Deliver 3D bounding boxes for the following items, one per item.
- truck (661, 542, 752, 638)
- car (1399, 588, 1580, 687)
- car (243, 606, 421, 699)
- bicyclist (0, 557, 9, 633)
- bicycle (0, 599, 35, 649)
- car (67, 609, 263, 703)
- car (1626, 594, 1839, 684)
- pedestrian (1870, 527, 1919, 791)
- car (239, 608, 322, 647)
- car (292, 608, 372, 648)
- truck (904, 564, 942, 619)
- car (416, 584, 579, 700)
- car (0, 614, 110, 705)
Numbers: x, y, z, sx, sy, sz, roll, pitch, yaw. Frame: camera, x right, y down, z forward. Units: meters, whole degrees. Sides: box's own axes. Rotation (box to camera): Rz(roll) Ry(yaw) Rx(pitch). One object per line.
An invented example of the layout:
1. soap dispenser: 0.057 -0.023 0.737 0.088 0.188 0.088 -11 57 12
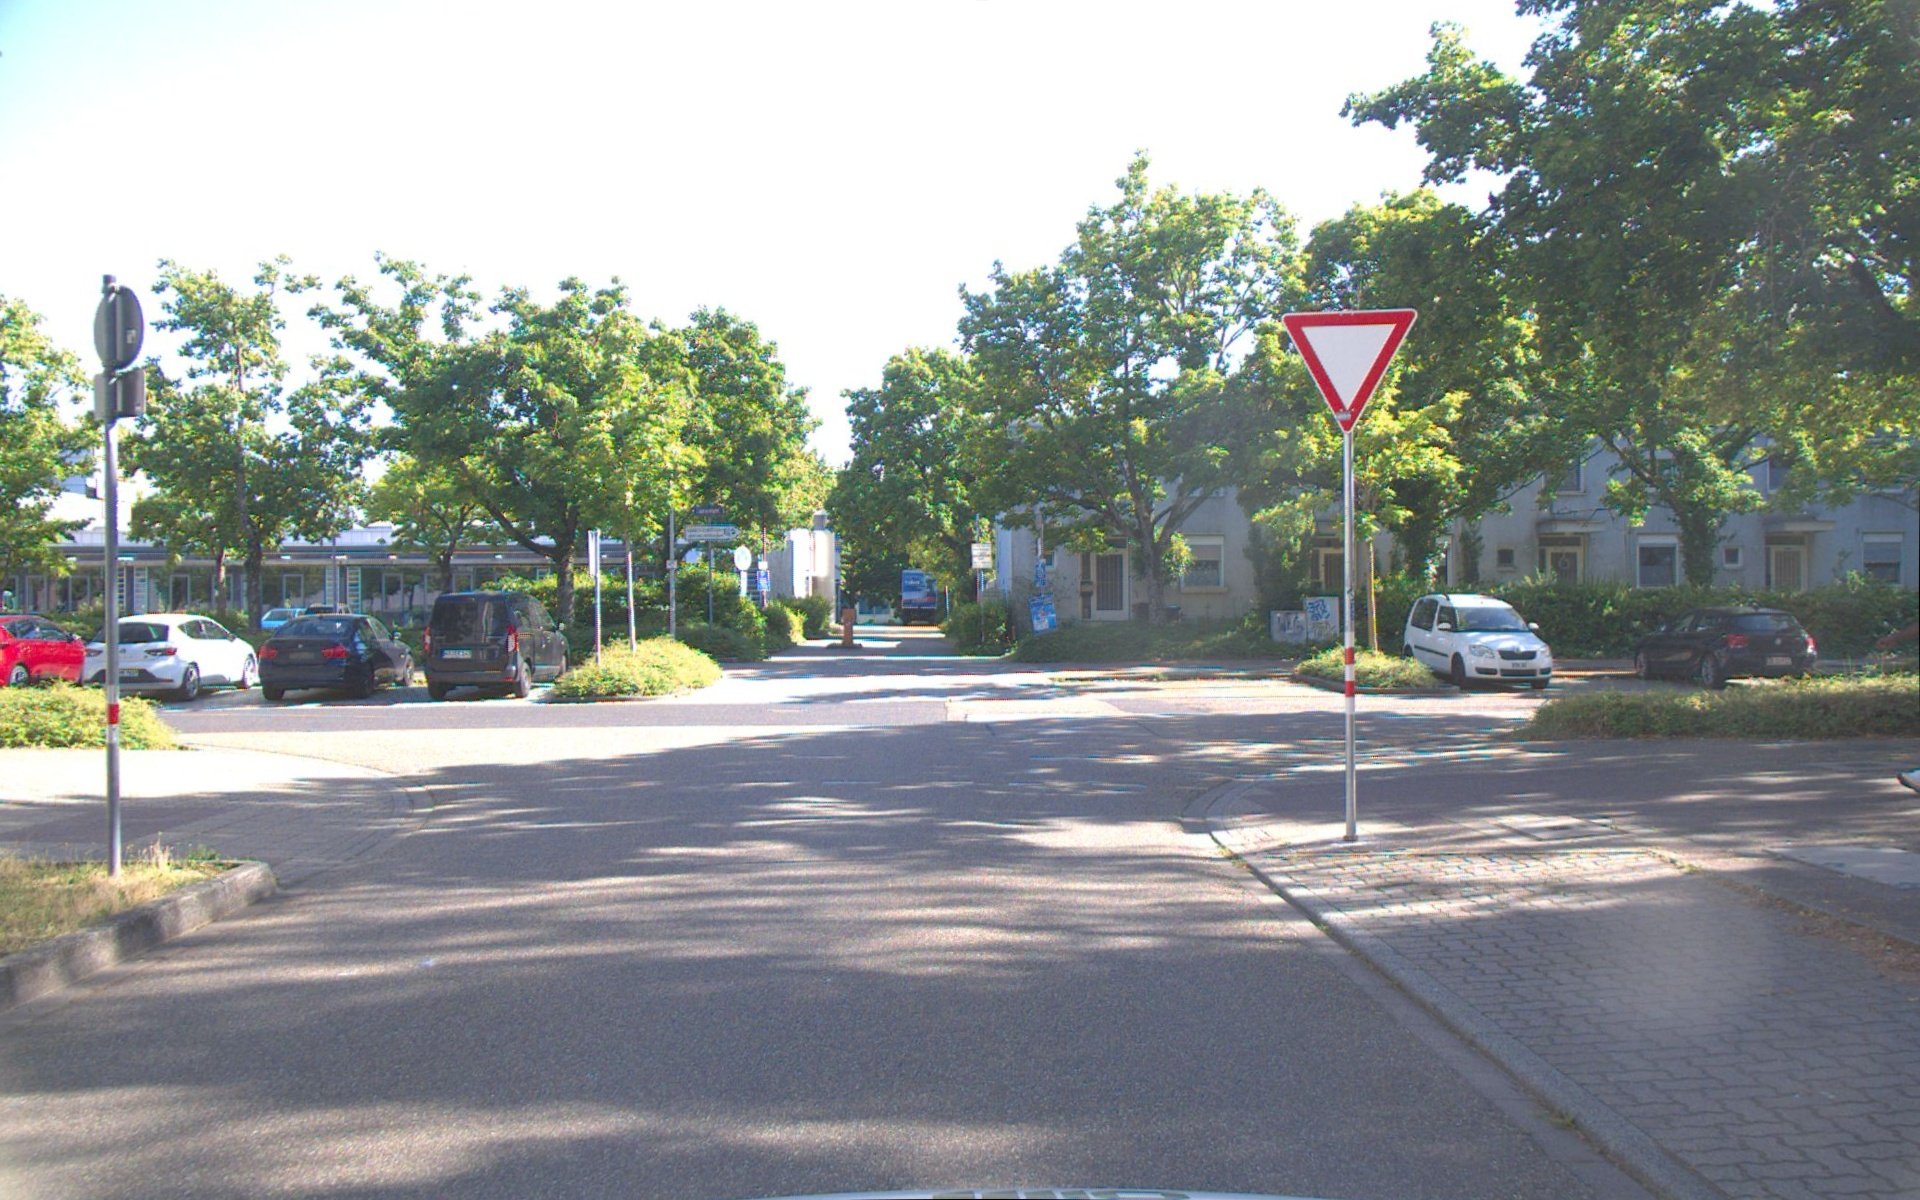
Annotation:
1. truck: -10.784 -0.417 70.973 2.745 3.873 6.924 1 0 0
2. car: 9.578 0.625 30.287 1.787 1.625 4.166 -1 1 -3
3. car: -11.197 0.888 29.801 1.787 1.430 4.166 -1 1 -3
4. bicyclist: -20.104 -0.103 33.803 0.991 1.550 0.596 1 0 -3
5. bicycle: -20.112 0.482 33.800 2.040 1.013 0.596 1 0 -3
6. car: -14.083 0.944 29.557 1.767 1.461 3.910 0 1 -3
7. car: 13.997 0.653 30.256 1.787 1.430 4.166 -1 1 -3
8. pedestrian: 6.611 0.381 10.876 0.797 1.714 0.829 -1 1 -32
9. car: -28.178 1.120 68.706 1.798 1.524 3.908 -1 0 0
10. car: -26.103 1.141 68.872 1.798 1.524 3.908 -1 0 0
11. truck: -2.763 -0.624 124.777 2.704 3.937 9.327 1 0 -1
12. car: -8.259 0.689 29.924 1.836 1.879 4.167 -1 1 -1
13. car: -16.860 1.003 29.409 1.634 1.451 3.909 1 0 -3
